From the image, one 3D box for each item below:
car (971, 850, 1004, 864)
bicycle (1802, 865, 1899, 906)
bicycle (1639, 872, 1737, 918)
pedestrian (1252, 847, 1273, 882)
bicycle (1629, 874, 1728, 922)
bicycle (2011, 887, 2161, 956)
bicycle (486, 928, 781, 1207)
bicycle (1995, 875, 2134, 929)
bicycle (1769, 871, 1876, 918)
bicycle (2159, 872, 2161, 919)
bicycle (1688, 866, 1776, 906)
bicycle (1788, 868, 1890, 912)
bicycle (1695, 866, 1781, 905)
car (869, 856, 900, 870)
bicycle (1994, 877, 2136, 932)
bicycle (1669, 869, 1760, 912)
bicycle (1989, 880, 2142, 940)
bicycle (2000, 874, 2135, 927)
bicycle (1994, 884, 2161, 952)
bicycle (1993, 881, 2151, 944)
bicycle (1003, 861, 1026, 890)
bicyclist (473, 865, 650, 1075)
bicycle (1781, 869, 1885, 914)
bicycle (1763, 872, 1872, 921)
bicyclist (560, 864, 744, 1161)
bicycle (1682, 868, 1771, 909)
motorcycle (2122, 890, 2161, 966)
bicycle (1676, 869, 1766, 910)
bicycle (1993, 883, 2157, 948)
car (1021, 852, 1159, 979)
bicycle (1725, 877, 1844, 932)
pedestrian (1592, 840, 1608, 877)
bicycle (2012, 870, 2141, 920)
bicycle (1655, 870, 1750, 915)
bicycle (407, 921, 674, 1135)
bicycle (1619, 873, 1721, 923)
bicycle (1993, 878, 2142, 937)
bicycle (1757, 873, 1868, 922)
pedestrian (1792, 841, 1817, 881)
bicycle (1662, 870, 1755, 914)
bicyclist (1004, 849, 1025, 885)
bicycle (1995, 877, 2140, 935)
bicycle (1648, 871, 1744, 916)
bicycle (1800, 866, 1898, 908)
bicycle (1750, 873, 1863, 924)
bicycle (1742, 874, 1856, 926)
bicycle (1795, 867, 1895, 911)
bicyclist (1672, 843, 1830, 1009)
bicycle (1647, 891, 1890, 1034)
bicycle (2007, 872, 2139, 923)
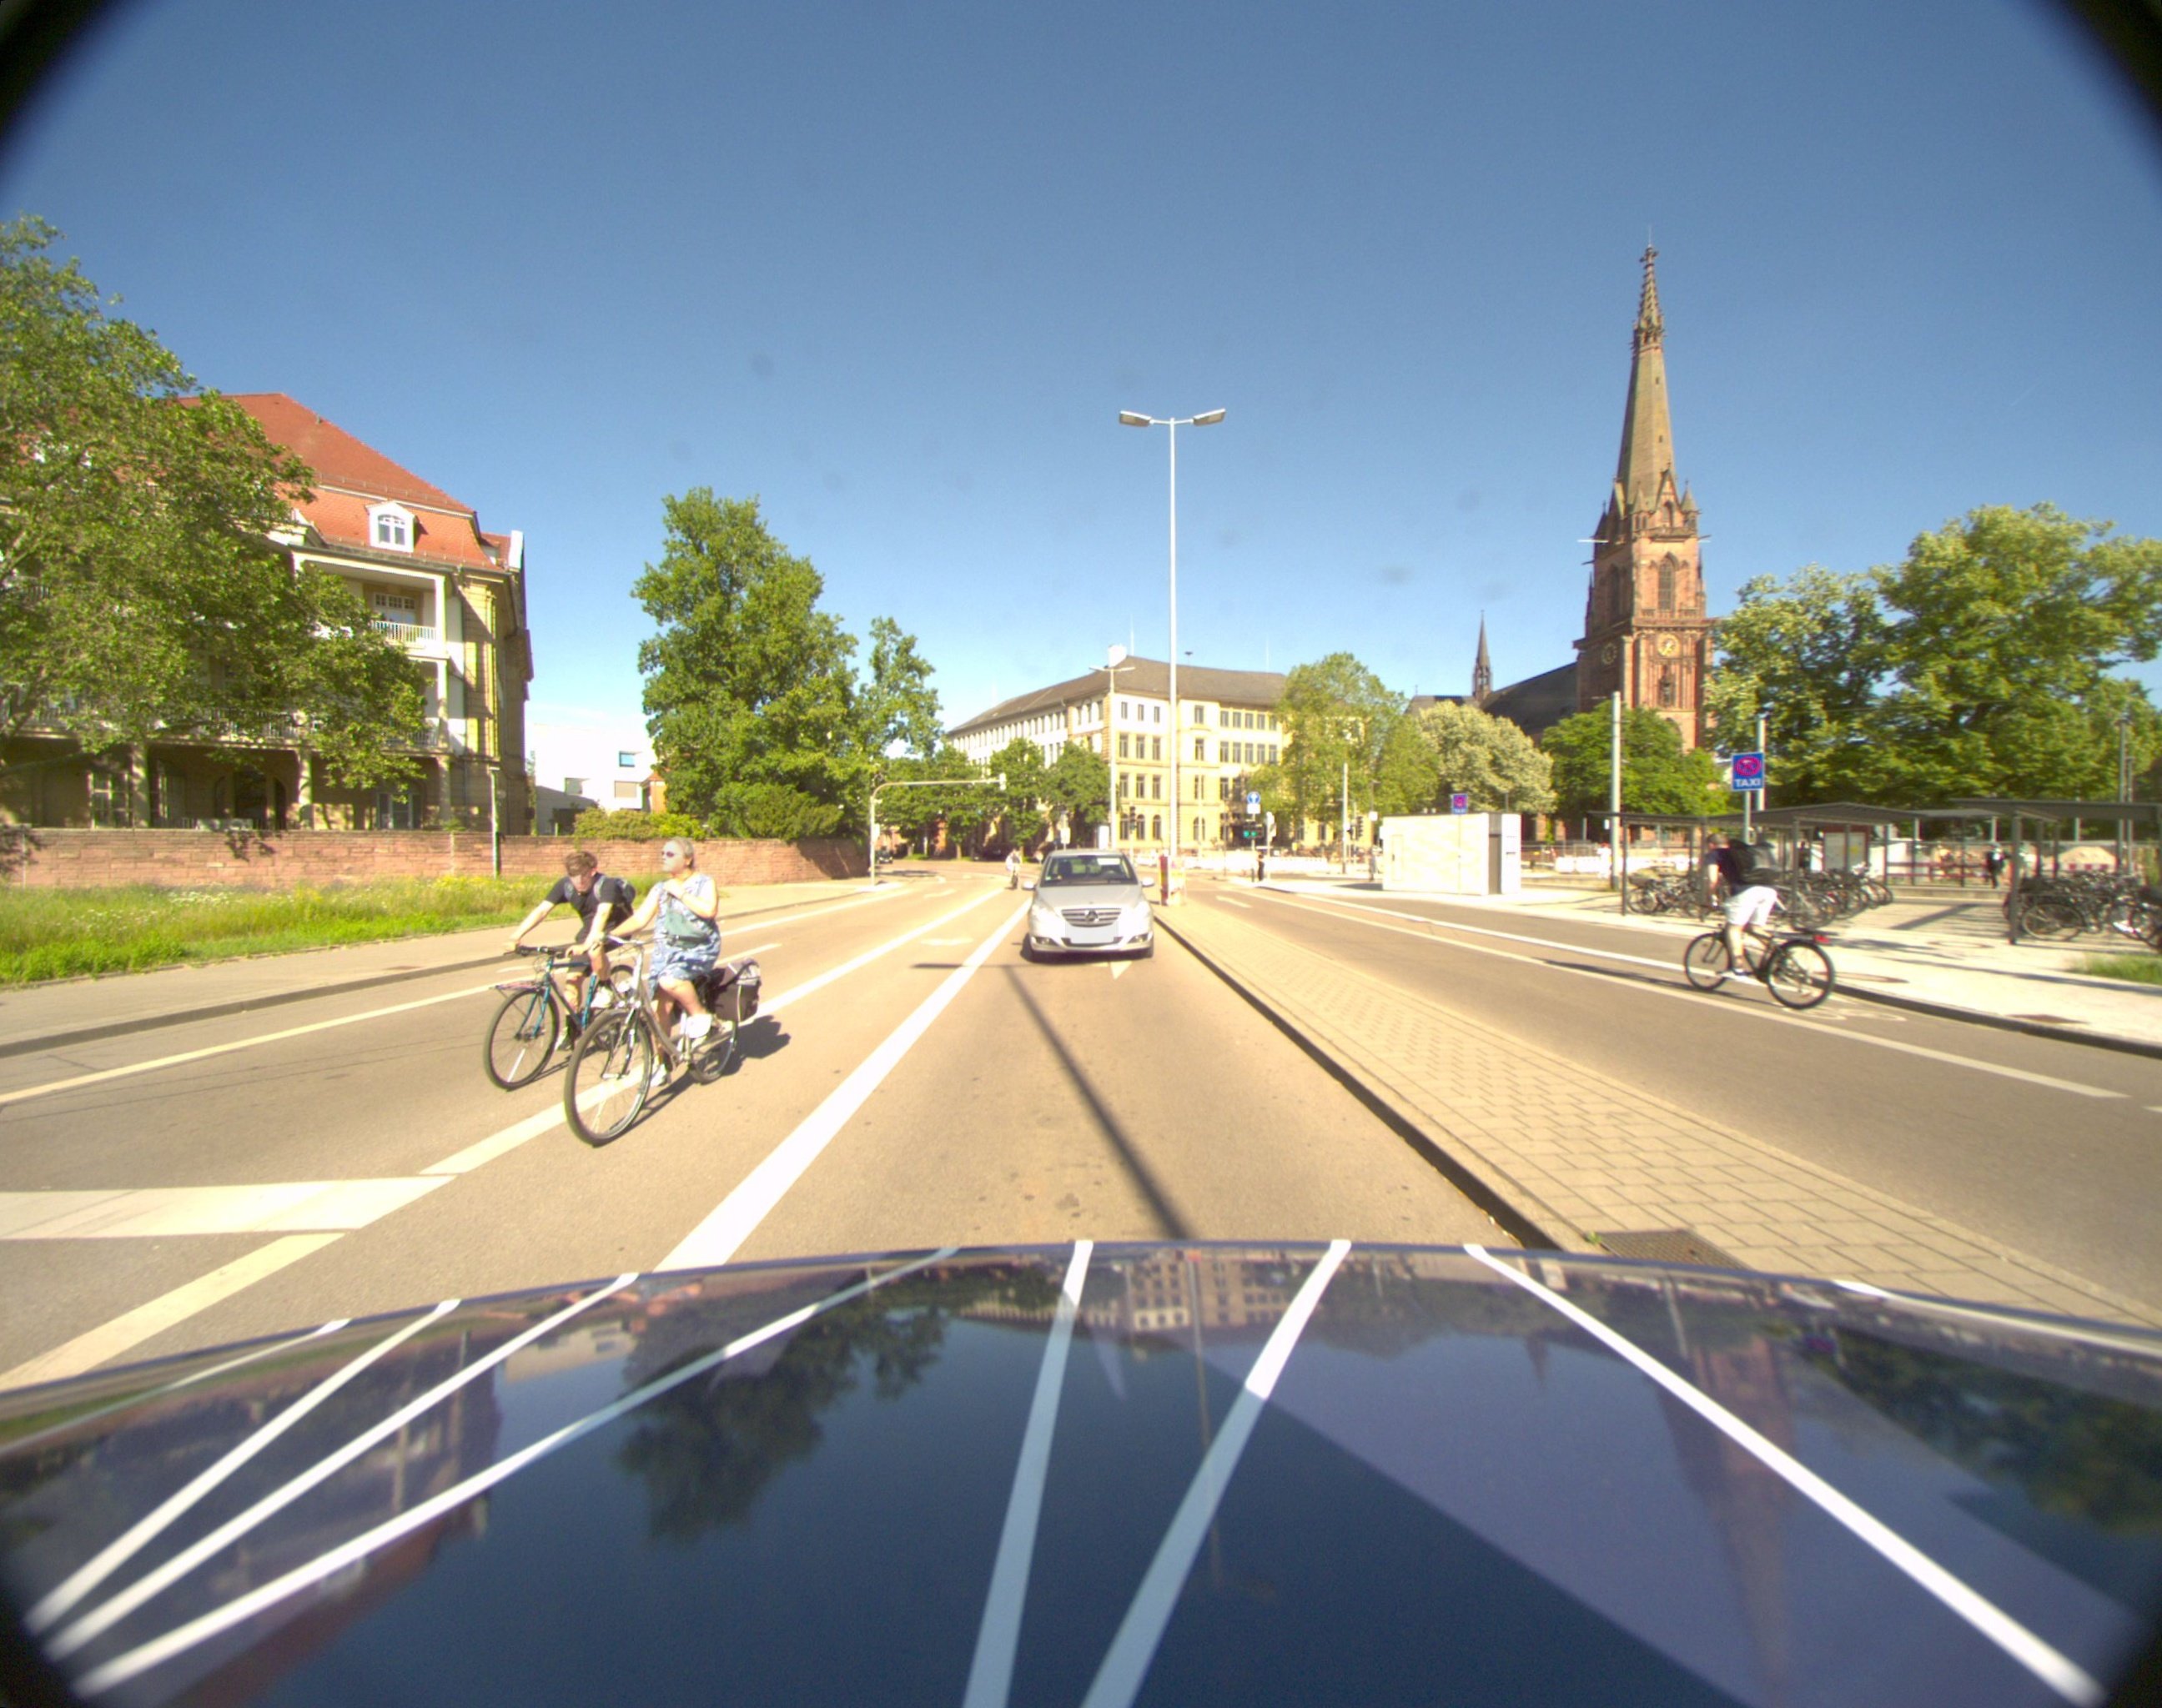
[{"bbox_3d":[-12.114,0.397,98.491,1.994,1.805,3.809,1,1,43],"label":"car"},{"bbox_3d":[21.156,0.845,20.921,0.569,1.032,1.783,0,1,-38],"label":"bicycle"},{"bbox_3d":[15.008,0.990,18.838,0.569,1.032,1.783,0,1,-38],"label":"bicycle"},{"bbox_3d":[8.872,0.517,37.180,0.789,1.671,0.648,-2,1,1],"label":"pedestrian"},{"bbox_3d":[14.411,1.031,18.372,0.569,1.032,1.783,0,1,-38],"label":"bicycle"},{"bbox_3d":[17.529,1.140,13.139,0.569,1.032,1.783,0,1,-38],"label":"bicycle"},{"bbox_3d":[-2.597,1.150,4.737,0.642,1.158,1.967,-1,1,0],"label":"bicycle"},{"bbox_3d":[21.224,1.013,16.451,0.569,1.032,1.783,0,1,-38],"label":"bicycle"},{"bbox_3d":[18.101,0.965,18.595,0.569,1.032,1.783,0,1,-38],"label":"bicycle"},{"bbox_3d":[24.570,0.932,16.198,0.569,1.032,1.783,0,1,-38],"label":"bicycle"},{"bbox_3d":[18.474,0.882,21.598,0.569,1.032,1.783,0,1,-38],"label":"bicycle"},{"bbox_3d":[19.641,0.904,19.725,0.569,1.032,1.783,0,1,-38],"label":"bicycle"},{"bbox_3d":[18.953,0.883,21.950,0.569,1.032,1.783,0,1,-38],"label":"bicycle"},{"bbox_3d":[-22.931,1.017,88.682,2.003,1.464,4.286,-3,1,-37],"label":"car"},{"bbox_3d":[20.760,1.037,16.077,0.569,1.032,1.783,0,1,-38],"label":"bicycle"},{"bbox_3d":[17.007,0.964,20.439,0.569,1.032,1.783,0,1,-38],"label":"bicycle"},{"bbox_3d":[19.261,1.064,14.918,0.569,1.032,1.783,0,1,-38],"label":"bicycle"},{"bbox_3d":[21.947,1.012,16.949,0.569,1.032,1.783,0,1,-38],"label":"bicycle"},{"bbox_3d":[17.859,1.114,13.669,0.569,1.032,1.783,0,1,-38],"label":"bicycle"},{"bbox_3d":[18.806,1.086,14.480,0.569,1.032,1.783,0,1,-38],"label":"bicycle"},{"bbox_3d":[-2.856,0.906,32.743,0.778,1.158,1.967,-1,1,0],"label":"bicycle"},{"bbox_3d":[-3.893,0.819,5.776,0.643,1.436,0.953,-1,1,0],"label":"bicyclist"},{"bbox_3d":[19.102,0.933,19.335,0.569,1.032,1.783,0,1,-38],"label":"bicycle"},{"bbox_3d":[17.623,0.991,18.226,0.569,1.032,1.783,0,1,-38],"label":"bicycle"},{"bbox_3d":[-2.597,0.907,4.691,0.643,1.653,0.776,-1,2,-1],"label":"bicyclist"},{"bbox_3d":[17.994,0.934,21.230,0.569,1.032,1.783,0,1,-38],"label":"bicycle"},{"bbox_3d":[16.999,1.146,11.152,0.596,1.113,1.980,-1,1,-34],"label":"motorcycle"},{"bbox_3d":[17.527,0.950,20.858,0.569,1.032,1.783,0,1,-38],"label":"bicycle"},{"bbox_3d":[18.303,1.099,14.052,0.569,1.032,1.783,0,1,-38],"label":"bicycle"},{"bbox_3d":[0.132,0.796,12.194,1.771,1.585,4.637,-1,1,0],"label":"car"},{"bbox_3d":[15.105,1.050,16.364,0.569,1.032,1.783,0,1,-38],"label":"bicycle"},{"bbox_3d":[24.489,0.229,35.846,0.537,1.712,0.683,-1,-4,30],"label":"pedestrian"},{"bbox_3d":[23.218,0.934,17.763,0.569,1.032,1.783,0,1,-38],"label":"bicycle"},{"bbox_3d":[16.048,0.970,19.658,0.569,1.032,1.783,0,1,-38],"label":"bicycle"},{"bbox_3d":[-3.896,1.180,5.712,0.642,1.158,1.870,-1,0,0],"label":"bicycle"},{"bbox_3d":[13.893,1.013,17.974,0.569,1.032,1.783,0,1,-38],"label":"bicycle"},{"bbox_3d":[19.807,1.048,15.318,0.569,1.032,1.783,0,1,-38],"label":"bicycle"},{"bbox_3d":[17.144,0.996,17.838,0.569,1.032,1.783,0,1,-38],"label":"bicycle"},{"bbox_3d":[30.582,0.284,32.113,0.567,1.645,0.518,-2,1,0],"label":"pedestrian"},{"bbox_3d":[16.521,0.976,20.057,0.569,1.032,1.783,0,1,-38],"label":"bicycle"},{"bbox_3d":[-2.867,0.553,32.732,0.778,1.543,0.919,-1,1,0],"label":"bicyclist"},{"bbox_3d":[20.301,1.040,15.690,0.569,1.032,1.783,0,1,-38],"label":"bicycle"},{"bbox_3d":[15.556,0.974,19.259,0.569,1.032,1.783,0,1,-38],"label":"bicycle"},{"bbox_3d":[20.681,0.874,20.502,0.569,1.032,1.783,0,1,-38],"label":"bicycle"},{"bbox_3d":[16.656,1.003,17.484,0.569,1.032,1.783,0,1,-38],"label":"bicycle"},{"bbox_3d":[16.150,1.016,17.134,0.569,1.032,1.783,0,1,-38],"label":"bicycle"},{"bbox_3d":[20.189,0.906,20.112,0.569,1.032,1.783,0,1,-38],"label":"bicycle"},{"bbox_3d":[6.894,0.693,7.874,0.721,1.612,0.977,1,1,0],"label":"bicyclist"},{"bbox_3d":[6.886,1.028,7.780,0.748,1.158,1.870,1,1,0],"label":"bicycle"},{"bbox_3d":[22.571,0.968,17.339,0.569,1.032,1.783,0,1,-38],"label":"bicycle"}]
